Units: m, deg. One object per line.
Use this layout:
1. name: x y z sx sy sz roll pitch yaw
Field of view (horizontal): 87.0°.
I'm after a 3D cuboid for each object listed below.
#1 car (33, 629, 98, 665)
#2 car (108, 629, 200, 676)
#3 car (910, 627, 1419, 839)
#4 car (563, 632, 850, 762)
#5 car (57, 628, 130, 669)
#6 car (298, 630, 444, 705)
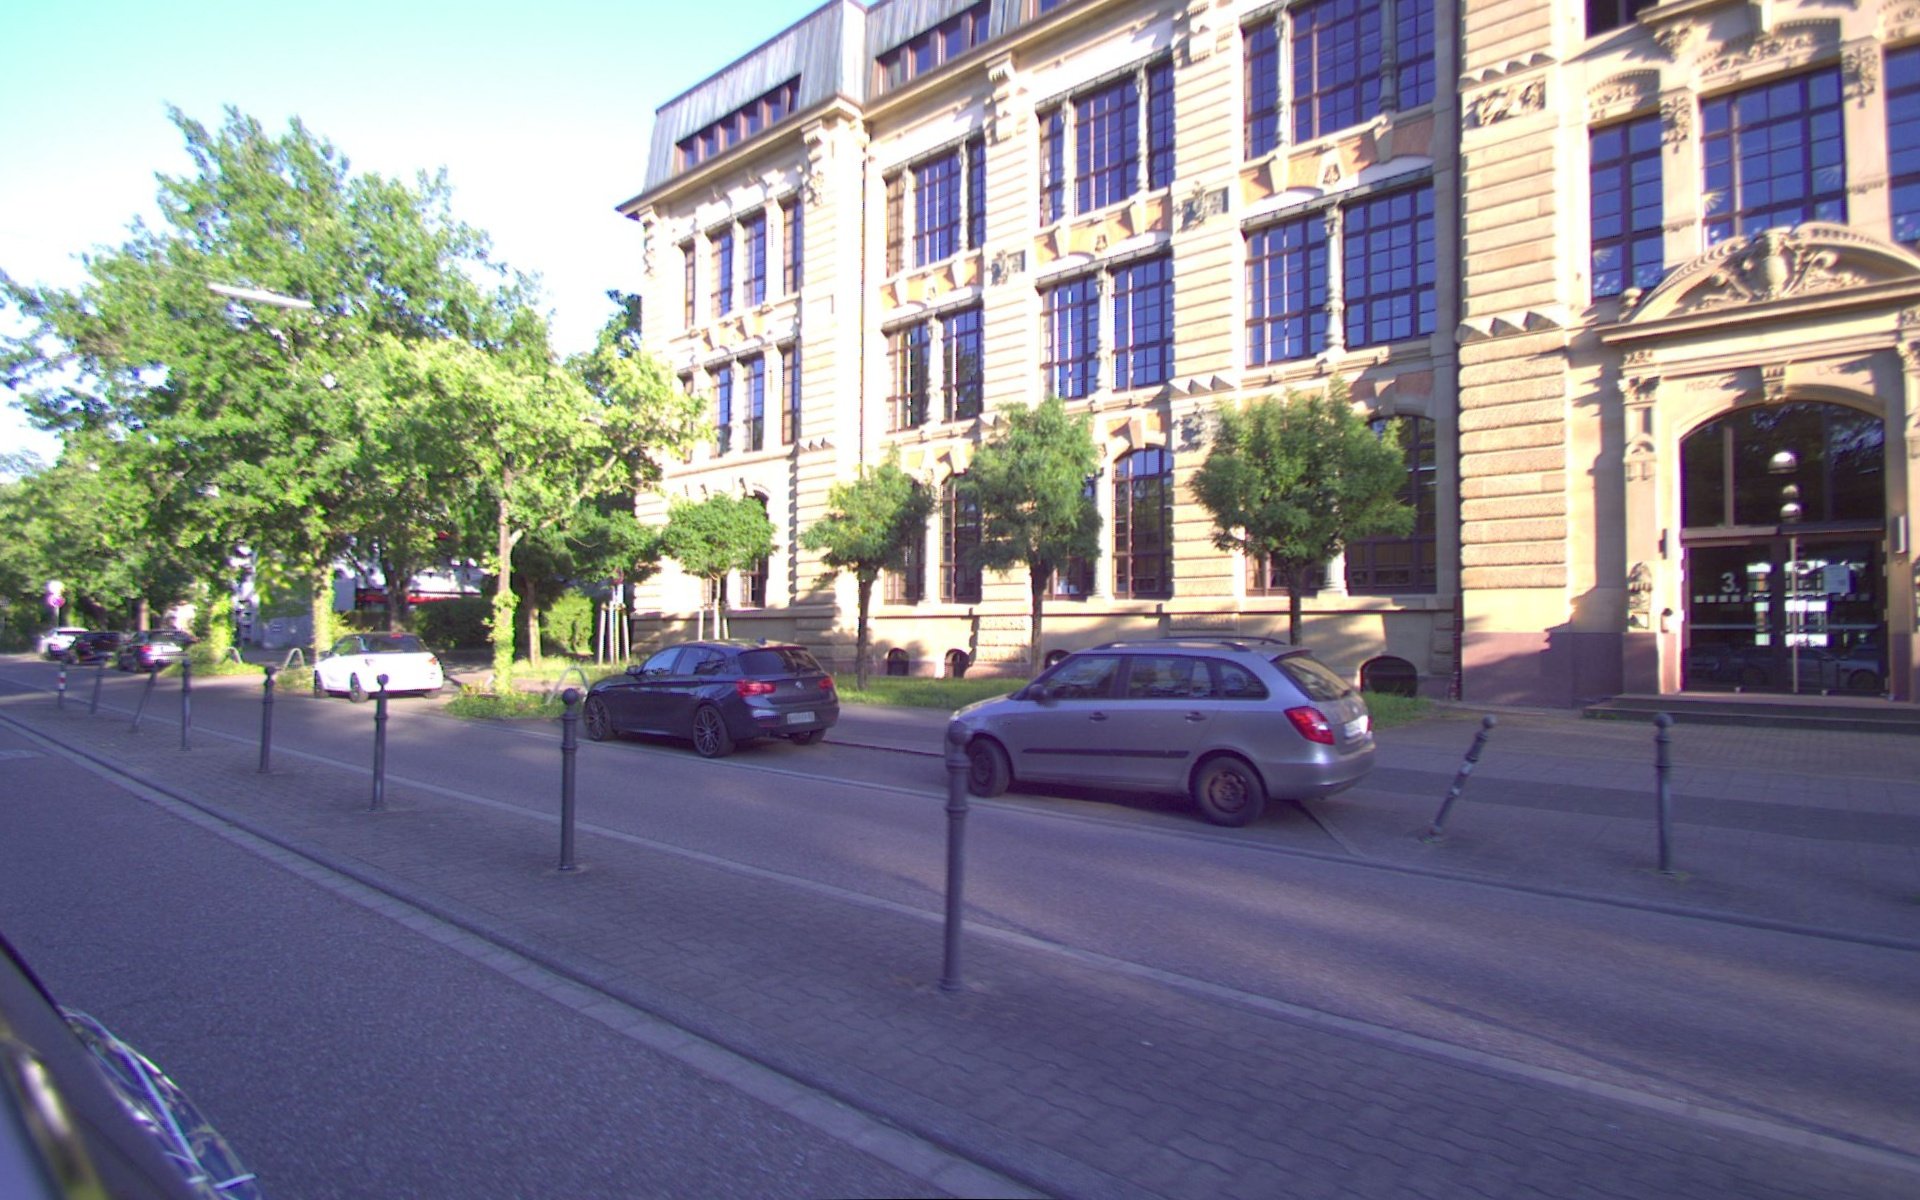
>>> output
1. car: -42.803 2.204 48.400 4.144 1.628 1.784 -1 -3 41
2. car: -28.684 1.808 35.957 4.861 1.522 1.783 -1 -2 42
3. car: 1.761 1.042 9.494 4.370 1.507 1.703 -1 0 37
4. car: -3.579 1.192 13.841 4.374 1.507 1.601 -2 -2 41
5. car: -36.754 2.013 42.902 4.144 1.628 1.761 -1 -2 41
6. car: -13.088 1.430 22.406 3.922 1.507 1.601 -2 -2 41
